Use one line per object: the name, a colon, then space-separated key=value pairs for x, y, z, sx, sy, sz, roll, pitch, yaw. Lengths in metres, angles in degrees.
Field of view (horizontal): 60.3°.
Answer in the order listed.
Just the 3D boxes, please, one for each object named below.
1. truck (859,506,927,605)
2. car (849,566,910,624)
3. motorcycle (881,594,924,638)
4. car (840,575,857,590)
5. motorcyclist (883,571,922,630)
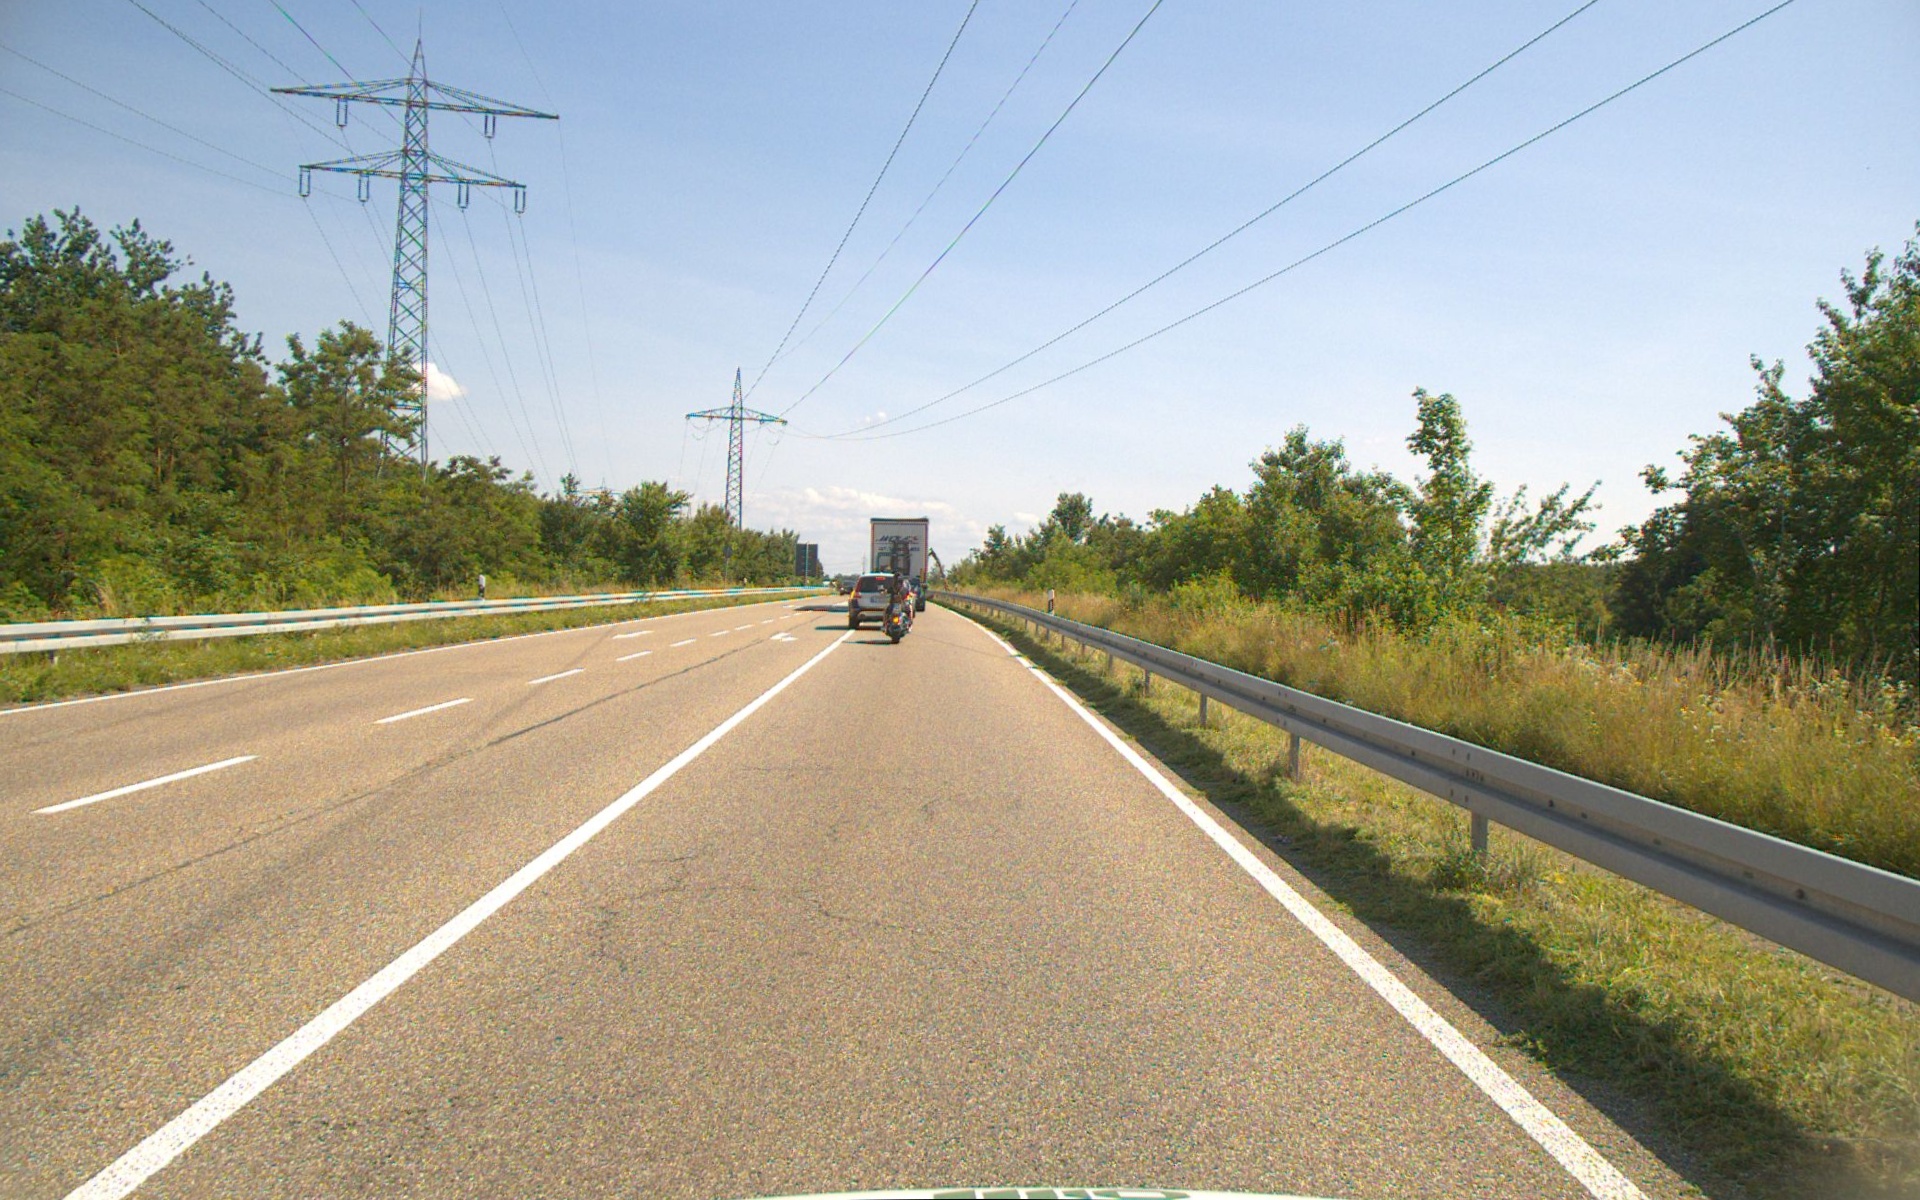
truck: x=-3.102 y=-2.026 z=79.492 sx=2.908 sy=4.260 sz=14.818 roll=1 pitch=1 yaw=-1
car: x=-2.280 y=-0.157 z=47.138 sx=1.667 sy=1.563 sz=3.497 roll=1 pitch=1 yaw=-2
motorcycle: x=-1.305 y=0.342 z=37.158 sx=0.842 sy=0.931 sz=2.226 roll=1 pitch=1 yaw=-5
car: x=-11.547 y=-1.796 z=171.707 sx=1.693 sy=1.517 sz=4.420 roll=1 pitch=1 yaw=-3
motorcyclist: x=-1.309 y=-0.001 z=37.243 sx=0.821 sy=1.303 sz=0.918 roll=1 pitch=1 yaw=-5
